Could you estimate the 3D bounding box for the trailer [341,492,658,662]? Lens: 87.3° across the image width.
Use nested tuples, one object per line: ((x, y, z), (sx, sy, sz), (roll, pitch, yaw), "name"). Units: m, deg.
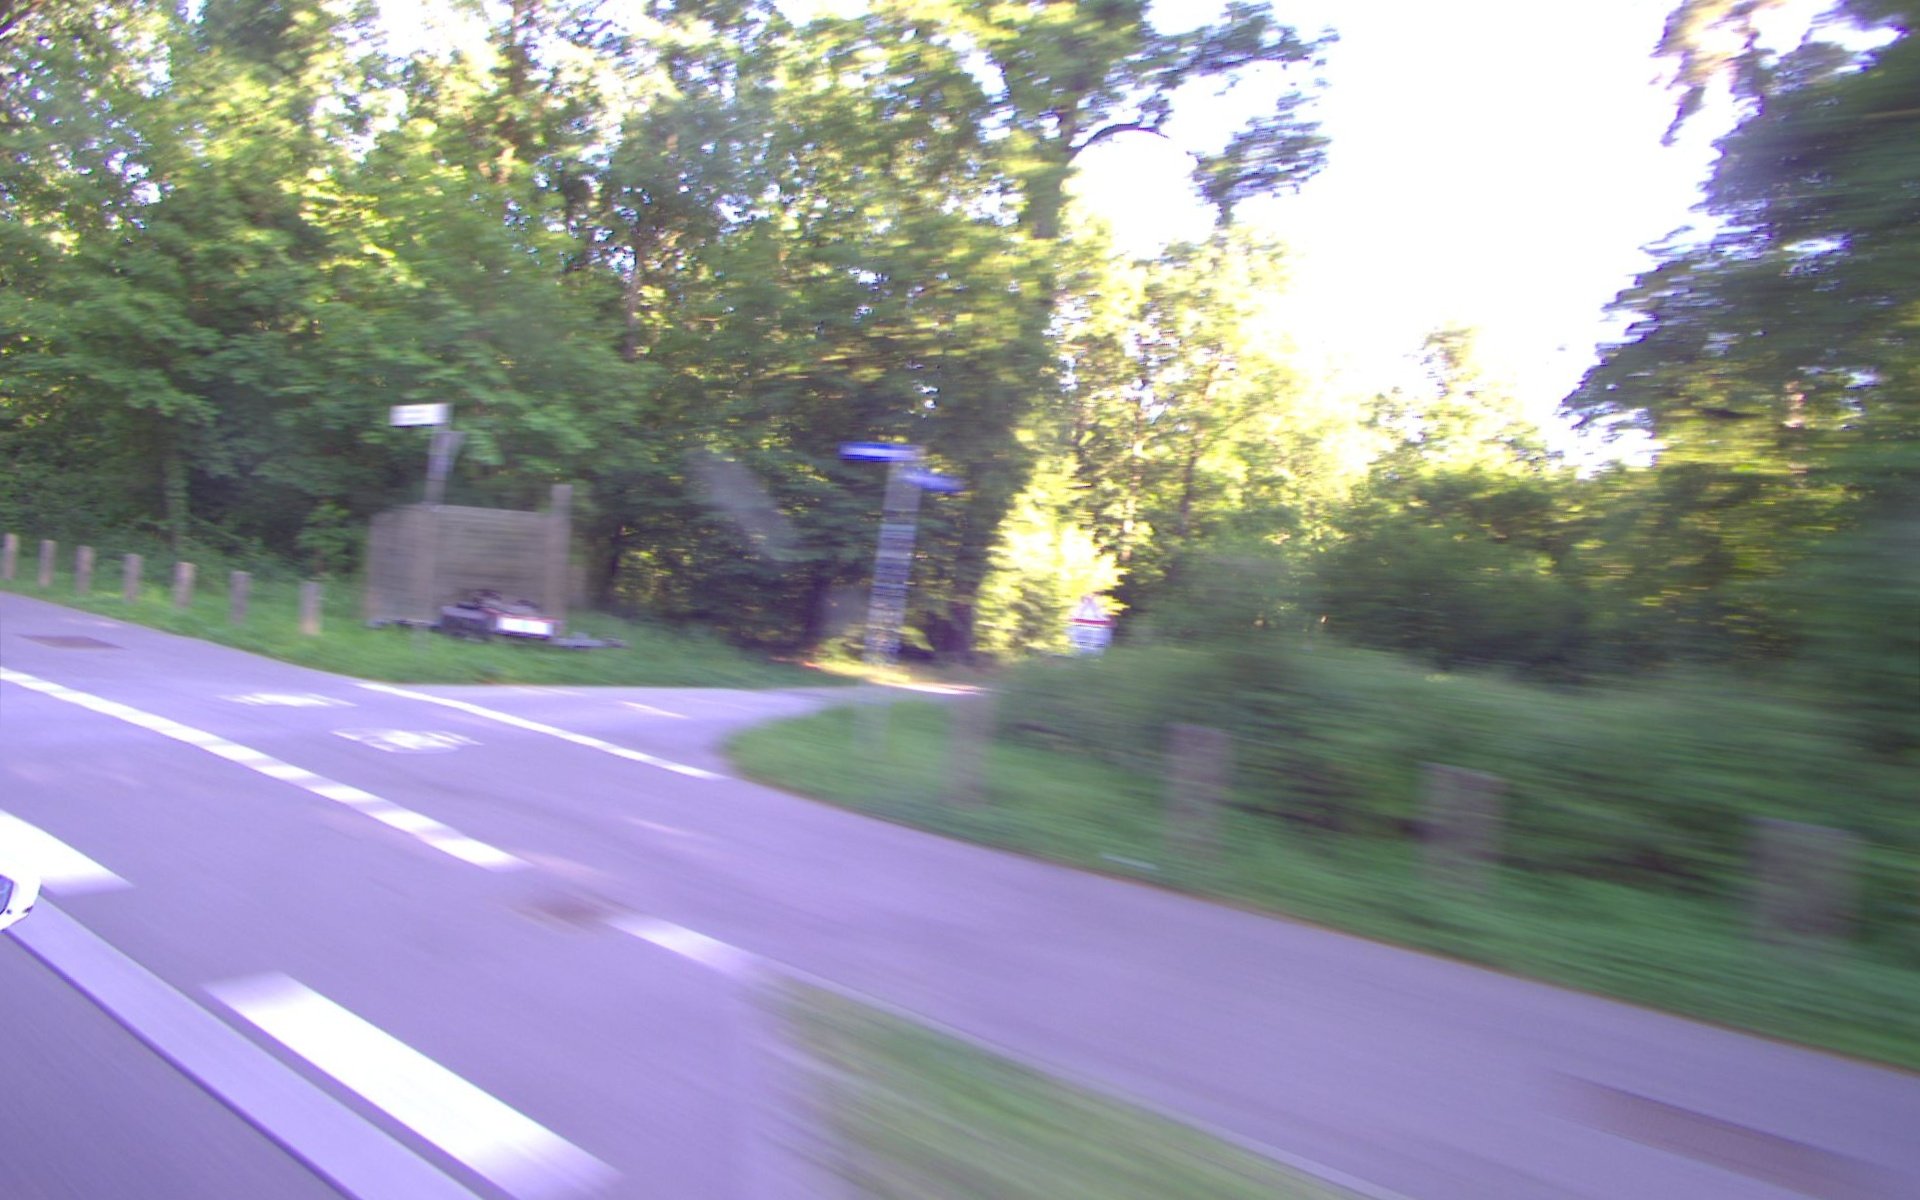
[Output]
((-7.083, -0.306, 16.002), (4.165, 2.046, 1.992), (7, -1, -18), "trailer")
